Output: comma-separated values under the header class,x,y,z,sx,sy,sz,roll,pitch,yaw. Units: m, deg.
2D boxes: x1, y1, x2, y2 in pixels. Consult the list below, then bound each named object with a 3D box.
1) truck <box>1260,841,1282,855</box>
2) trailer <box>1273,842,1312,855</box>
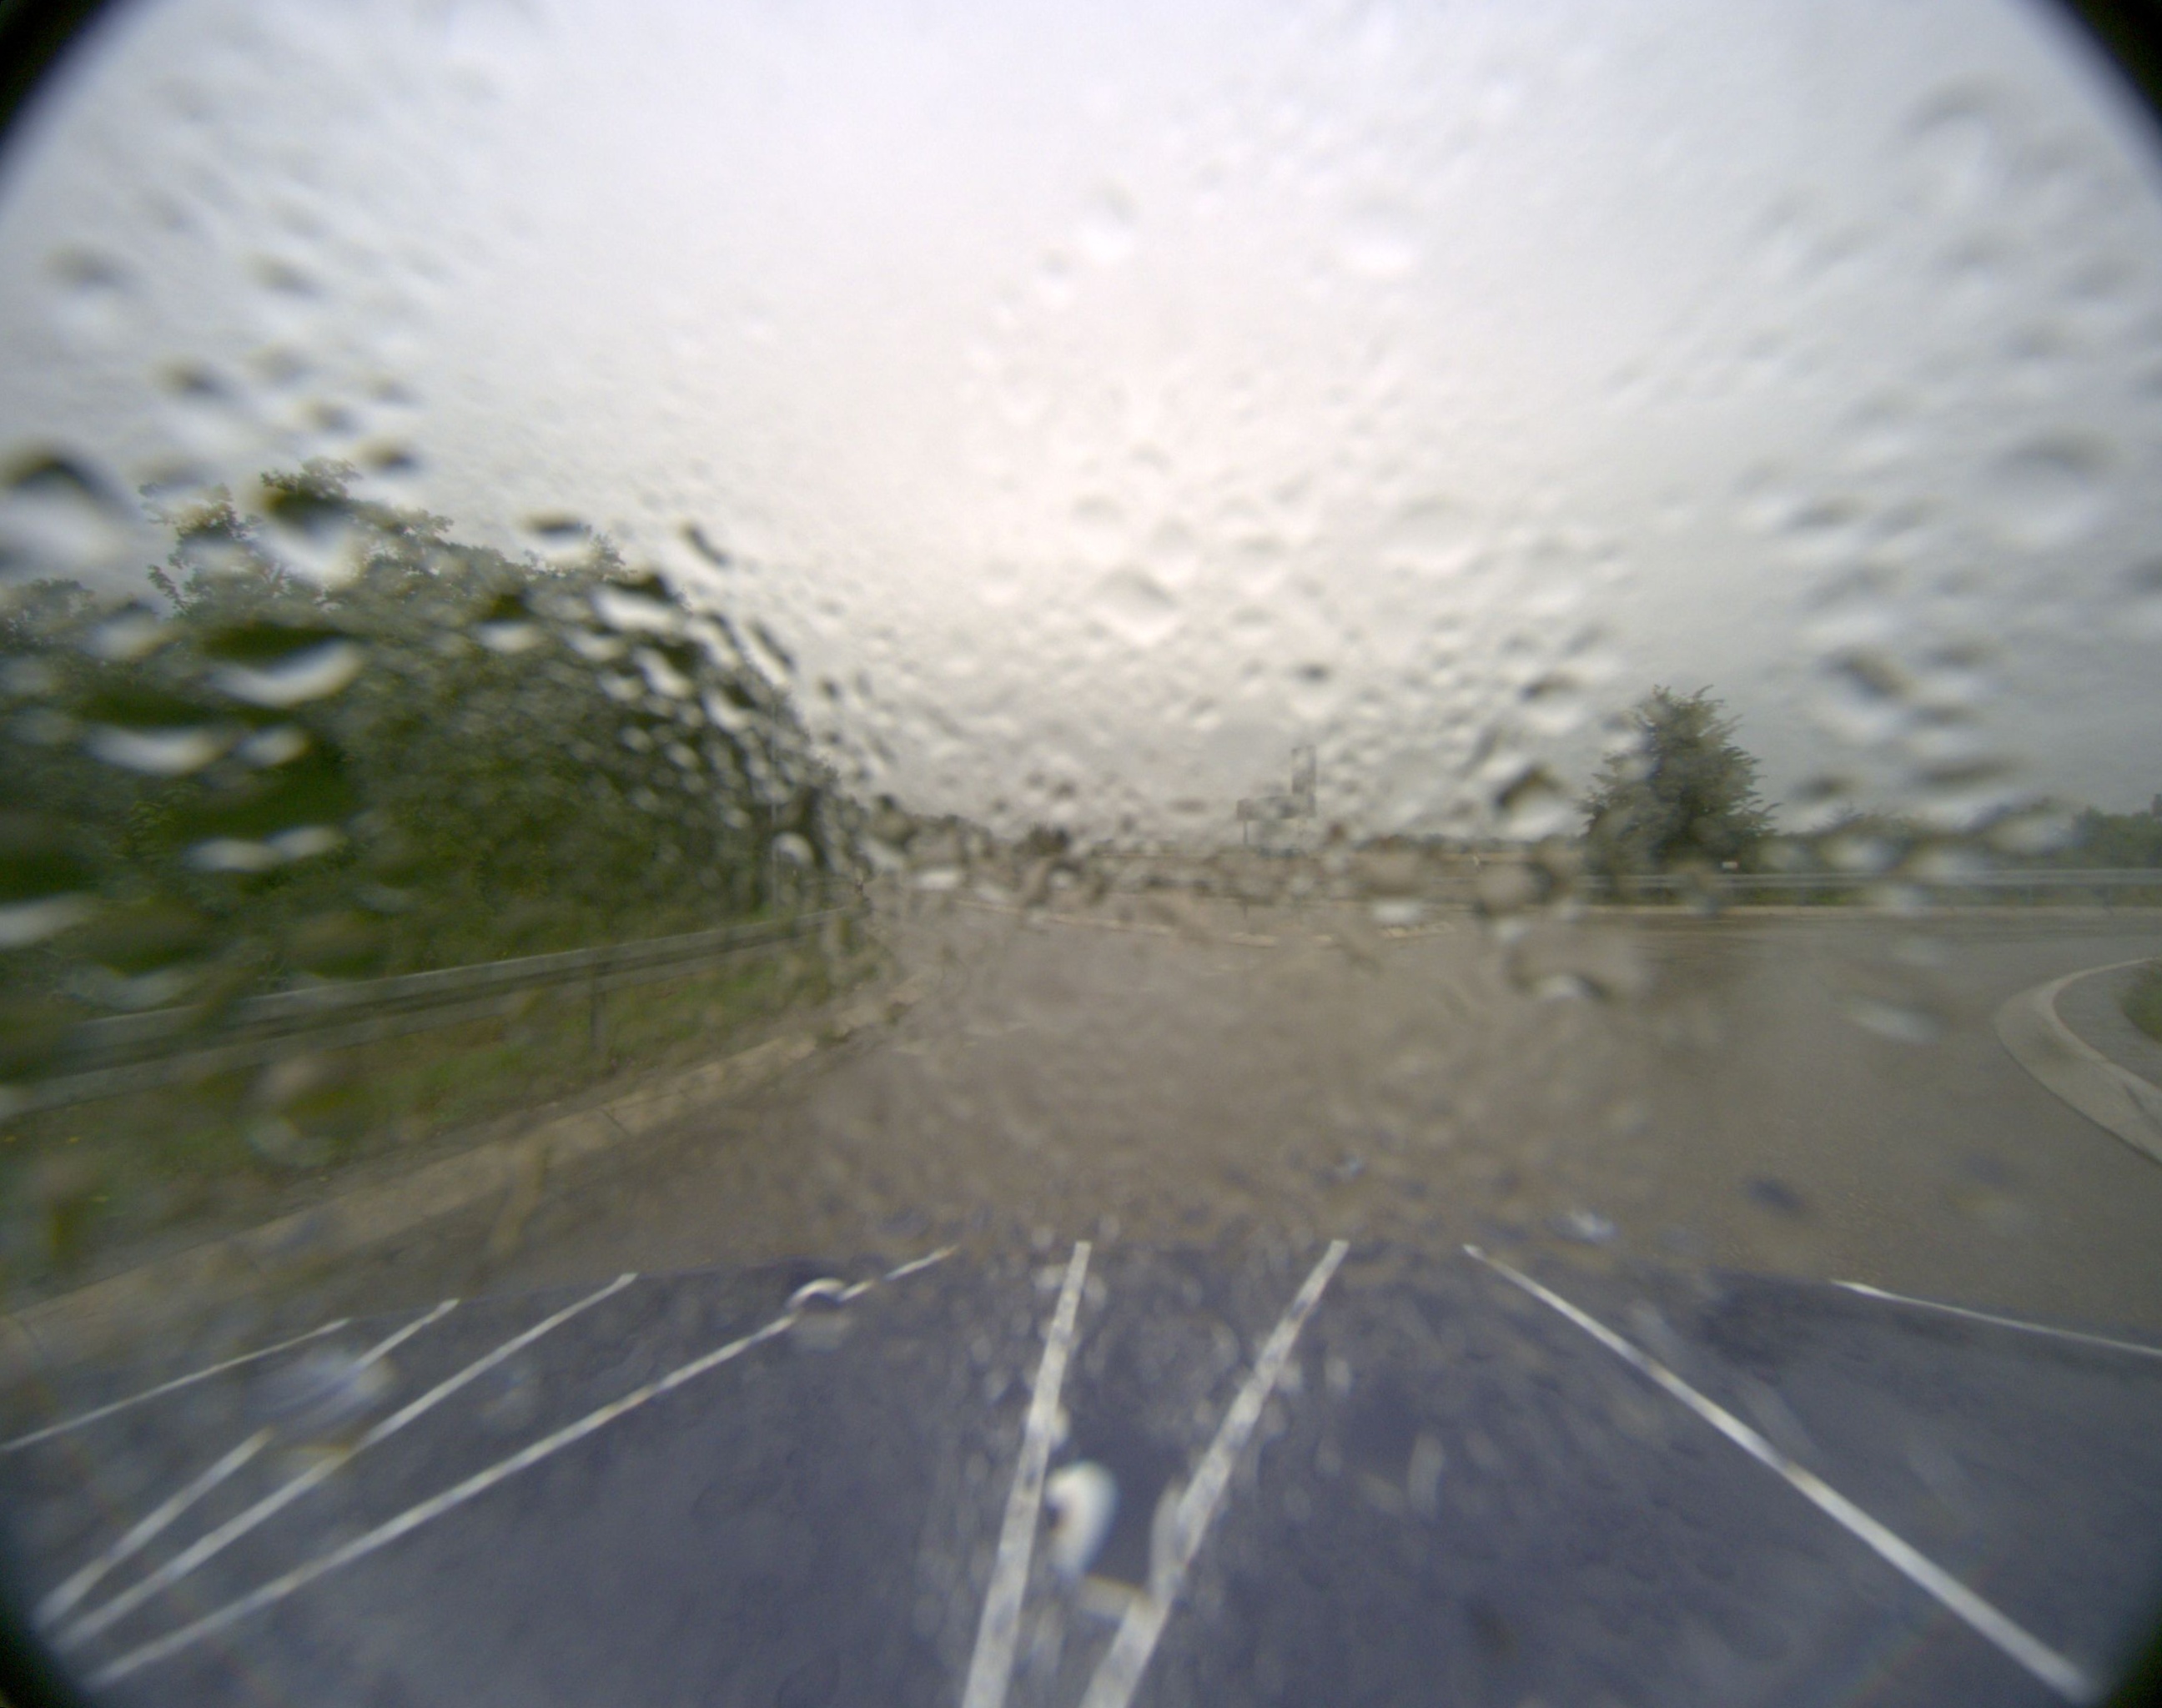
class,x,y,z,sx,sy,sz,roll,pitch,yaw
truck,60.192,-1.937,240.634,6.257,3.894,2.955,2,5,39
trailer,65.560,-1.802,236.281,11.443,3.868,2.955,2,5,39
